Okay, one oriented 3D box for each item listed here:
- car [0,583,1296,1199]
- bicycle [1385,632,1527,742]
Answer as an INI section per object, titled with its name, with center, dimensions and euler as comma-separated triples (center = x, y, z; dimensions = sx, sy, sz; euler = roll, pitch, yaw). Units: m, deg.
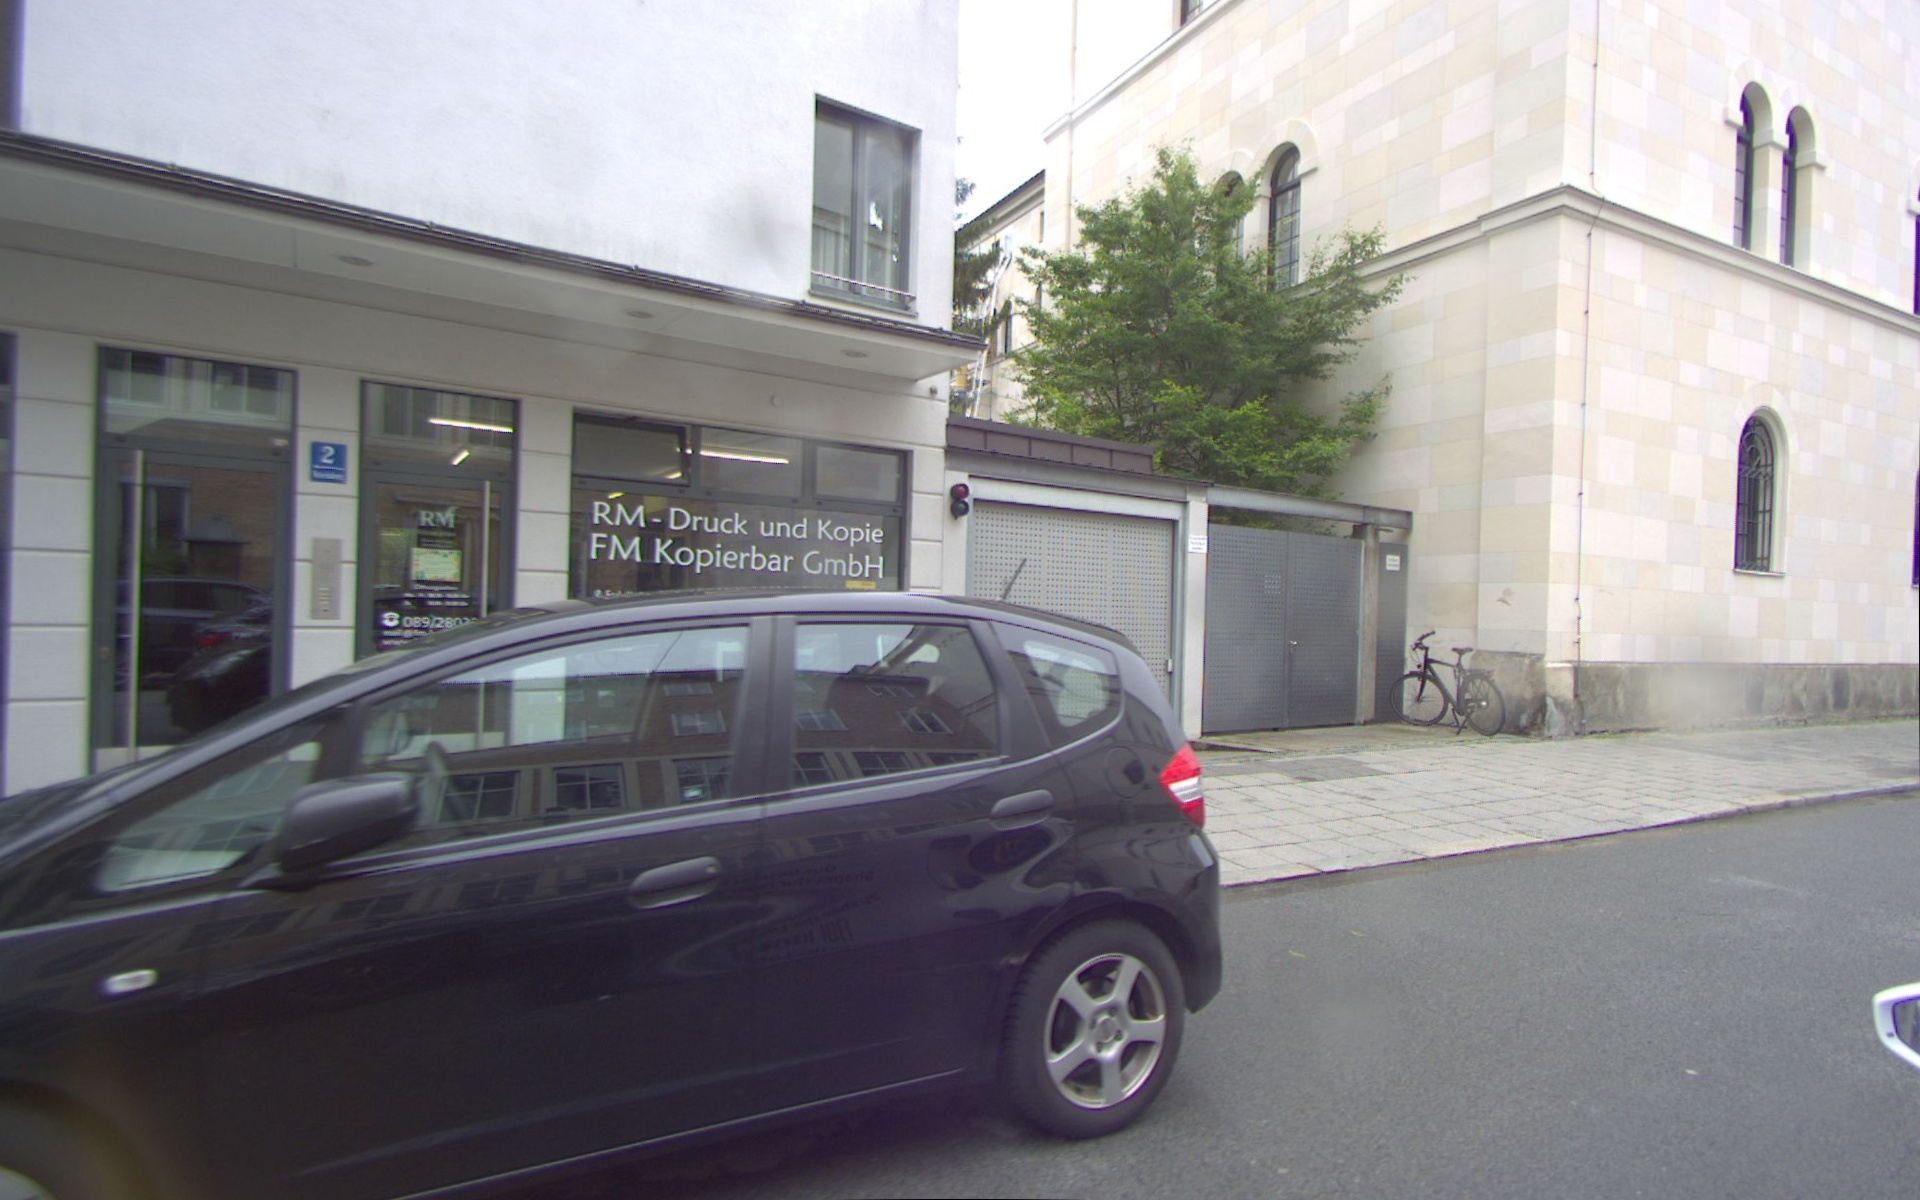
[car]
center = -1.122, 0.735, 2.894
dimensions = 3.965, 1.473, 1.744
euler = 1, -1, -28
[bicycle]
center = 5.930, 1.004, 12.111
dimensions = 0.468, 1.193, 1.710
euler = 1, -1, -18
